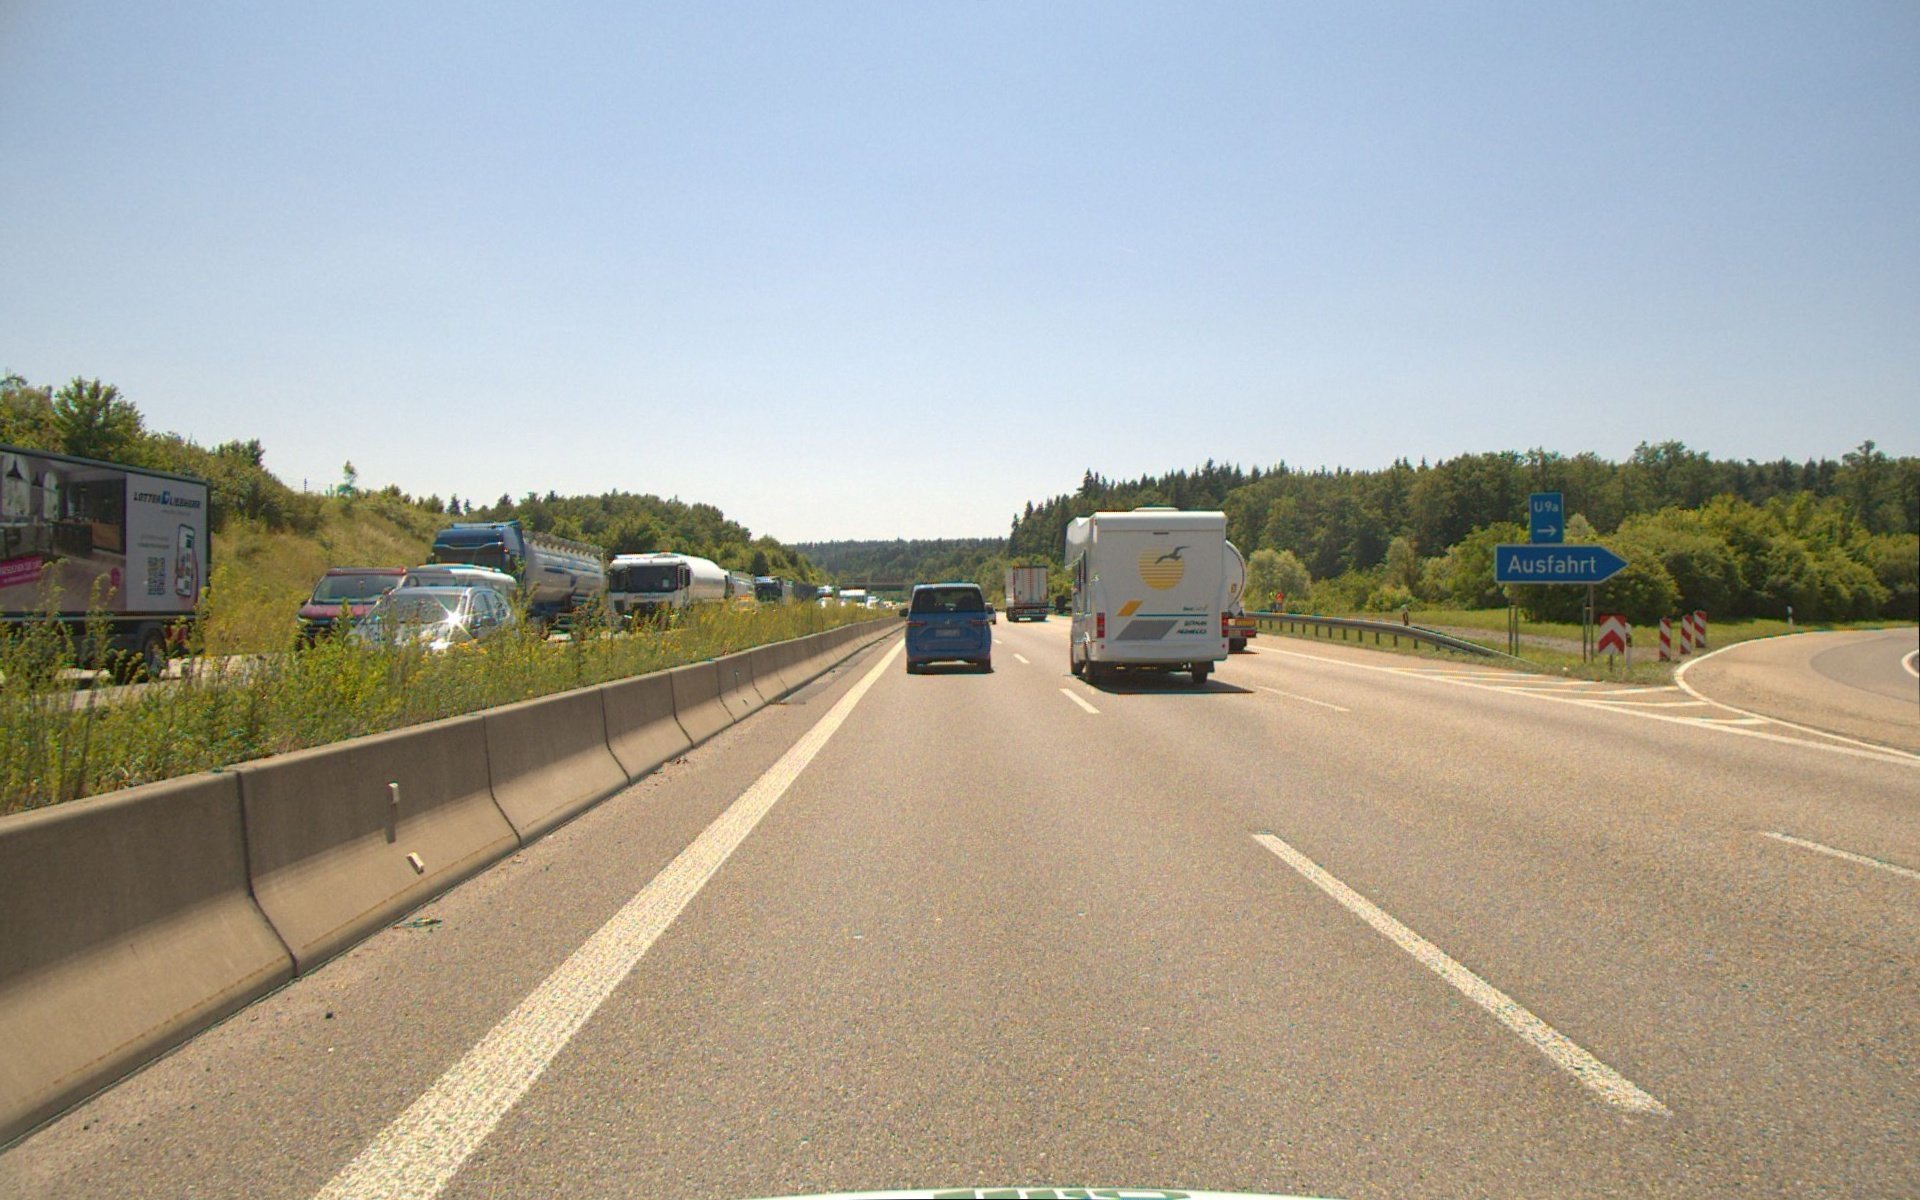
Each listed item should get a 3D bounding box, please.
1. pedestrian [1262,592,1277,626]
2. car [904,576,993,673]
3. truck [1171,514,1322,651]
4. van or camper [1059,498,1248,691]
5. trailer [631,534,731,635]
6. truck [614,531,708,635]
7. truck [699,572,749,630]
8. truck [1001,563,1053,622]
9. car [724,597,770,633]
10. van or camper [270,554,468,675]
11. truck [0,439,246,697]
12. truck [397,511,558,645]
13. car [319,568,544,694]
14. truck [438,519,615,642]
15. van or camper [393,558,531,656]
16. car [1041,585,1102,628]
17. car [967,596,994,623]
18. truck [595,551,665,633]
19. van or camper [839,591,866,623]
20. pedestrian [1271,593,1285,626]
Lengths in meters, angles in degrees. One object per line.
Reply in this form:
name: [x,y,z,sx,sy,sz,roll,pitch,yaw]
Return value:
pedestrian: [19.357,0.547,103.493,0.674,2.116,0.928,1,-1,0]
car: [-0.256,0.538,37.002,1.870,2.049,3.999,0,-1,-1]
truck: [8.223,-0.516,48.544,2.868,3.637,8.525,0,1,0]
van or camper: [3.425,-0.051,31.012,2.550,3.132,7.180,1,-1,-1]
trailer: [-12.180,-0.561,73.301,2.625,4.019,11.641,-2,-1,-2]
truck: [-12.048,-0.612,67.267,2.564,3.958,7.400,-1,-1,-1]
truck: [-16.645,0.105,117.075,2.638,3.947,6.315,1,-1,-1]
truck: [4.992,-0.507,125.114,3.416,4.243,8.639,1,-1,-1]
car: [-12.512,0.869,97.437,2.043,2.099,5.058,0,0,0]
van or camper: [-11.750,0.287,33.374,1.953,2.191,5.953,-1,-1,-1]
truck: [-15.178,-0.439,27.319,2.493,3.739,9.935,0,-1,-1]
truck: [-15.990,-0.654,55.345,3.419,4.107,6.642,1,-1,-1]
car: [-7.441,0.424,23.788,1.718,1.611,4.853,0,-1,-1]
truck: [-16.076,-0.684,62.648,3.505,4.165,12.577,1,0,-1]
van or camper: [-11.841,0.175,39.683,1.953,2.191,4.716,-1,-1,-1]
car: [4.020,0.254,60.102,1.870,1.501,3.999,-1,-1,-1]
car: [1.422,0.666,115.941,1.781,1.825,3.893,1,-1,-1]
truck: [-17.254,-0.361,86.943,2.045,4.099,7.876,1,-1,0]
van or camper: [-9.998,0.679,154.209,1.953,2.928,7.640,1,-1,0]
pedestrian: [20.305,0.594,105.734,0.674,2.116,0.928,1,-1,0]
